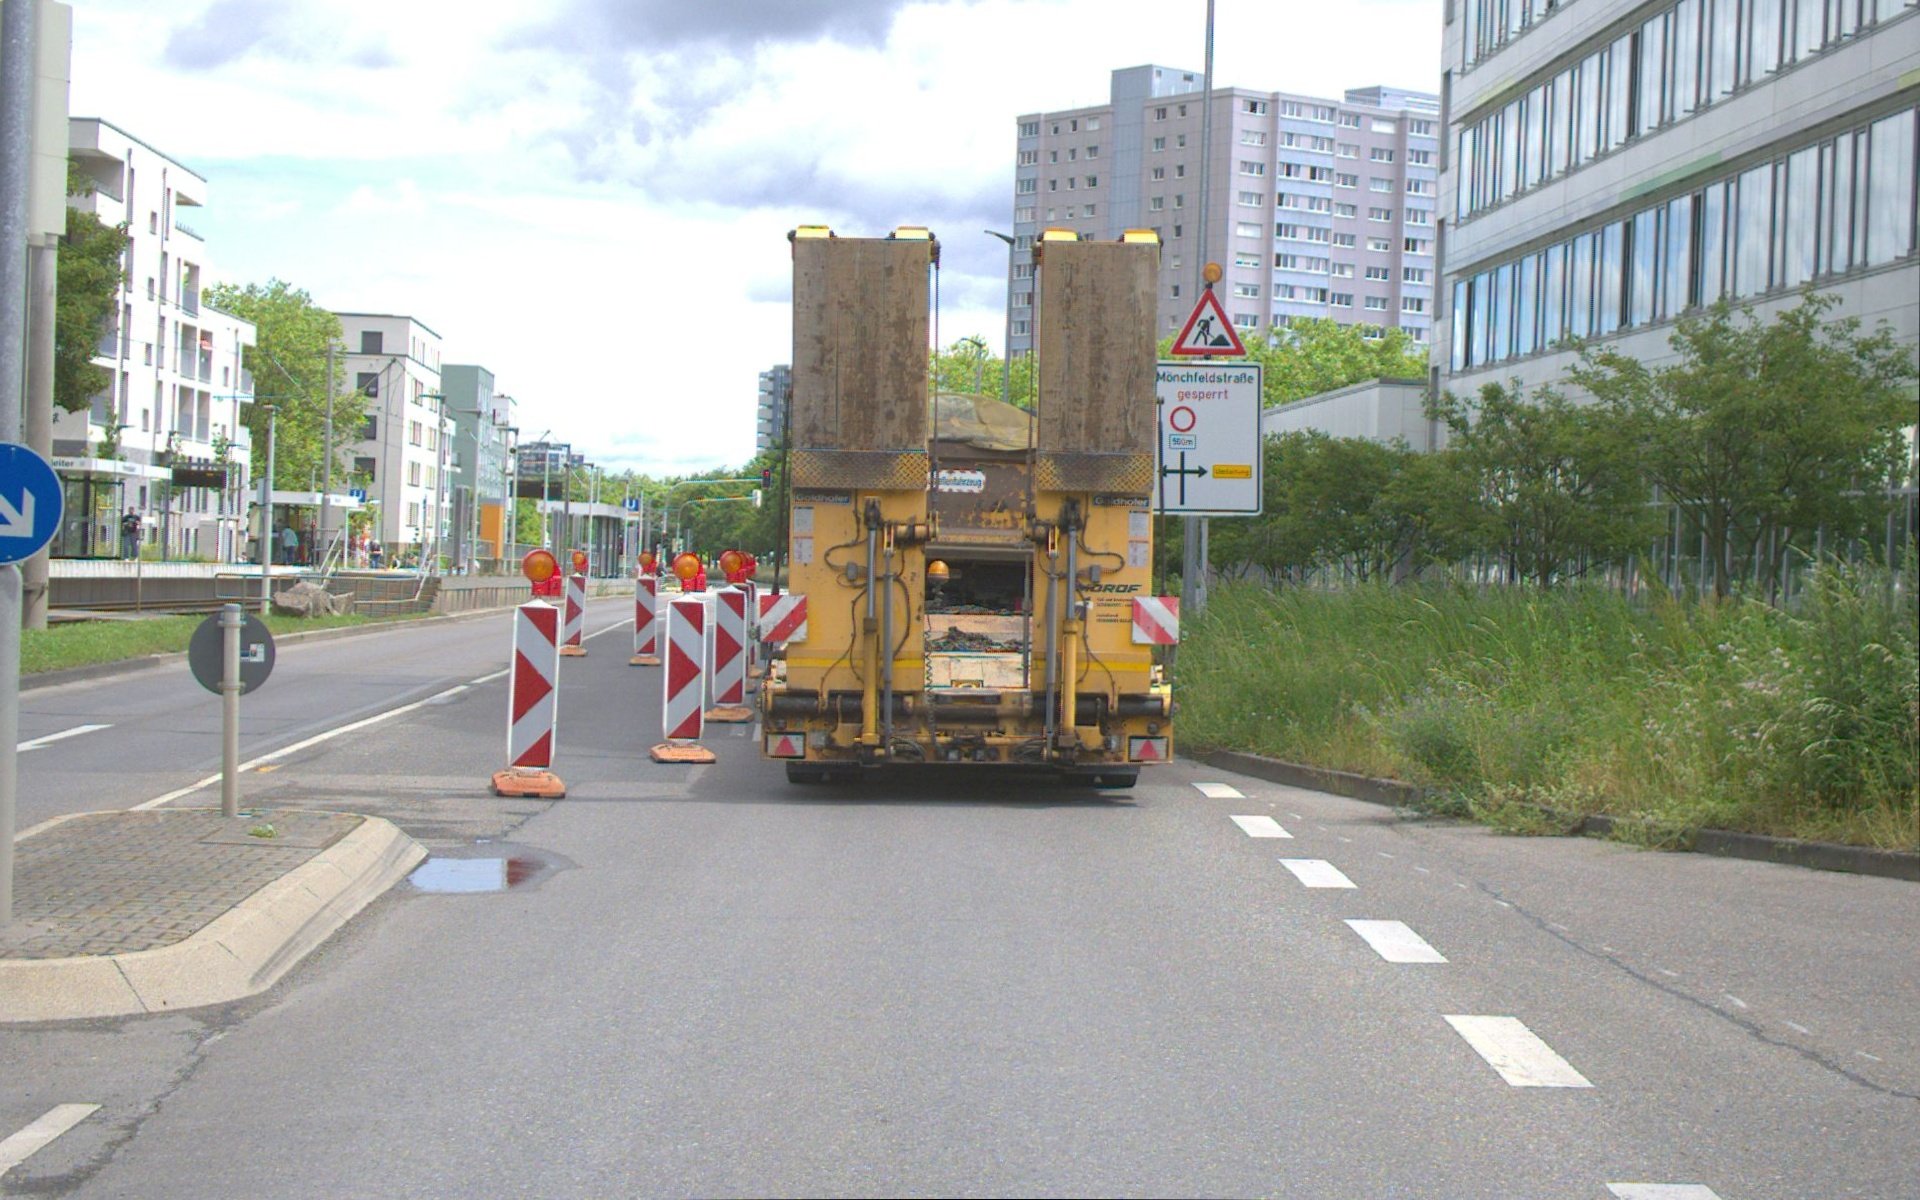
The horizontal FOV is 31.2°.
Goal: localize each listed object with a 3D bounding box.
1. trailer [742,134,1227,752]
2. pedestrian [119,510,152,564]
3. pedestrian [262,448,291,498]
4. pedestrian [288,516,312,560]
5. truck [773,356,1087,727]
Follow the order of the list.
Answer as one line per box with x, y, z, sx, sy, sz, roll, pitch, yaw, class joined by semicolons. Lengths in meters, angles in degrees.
-0.057;-0.968;25.994;2.729;3.547;11.254;2;0;-2;trailer
-23.962;-1.819;99.941;0.741;1.526;0.547;2;0;1;pedestrian
-24.571;-4.580;123.613;0.677;1.719;0.488;4;-3;34;pedestrian
-24.141;-2.261;125.734;0.488;1.591;0.676;2;0;33;pedestrian
-0.429;-0.565;35.820;2.753;3.302;8.352;2;0;-2;truck
